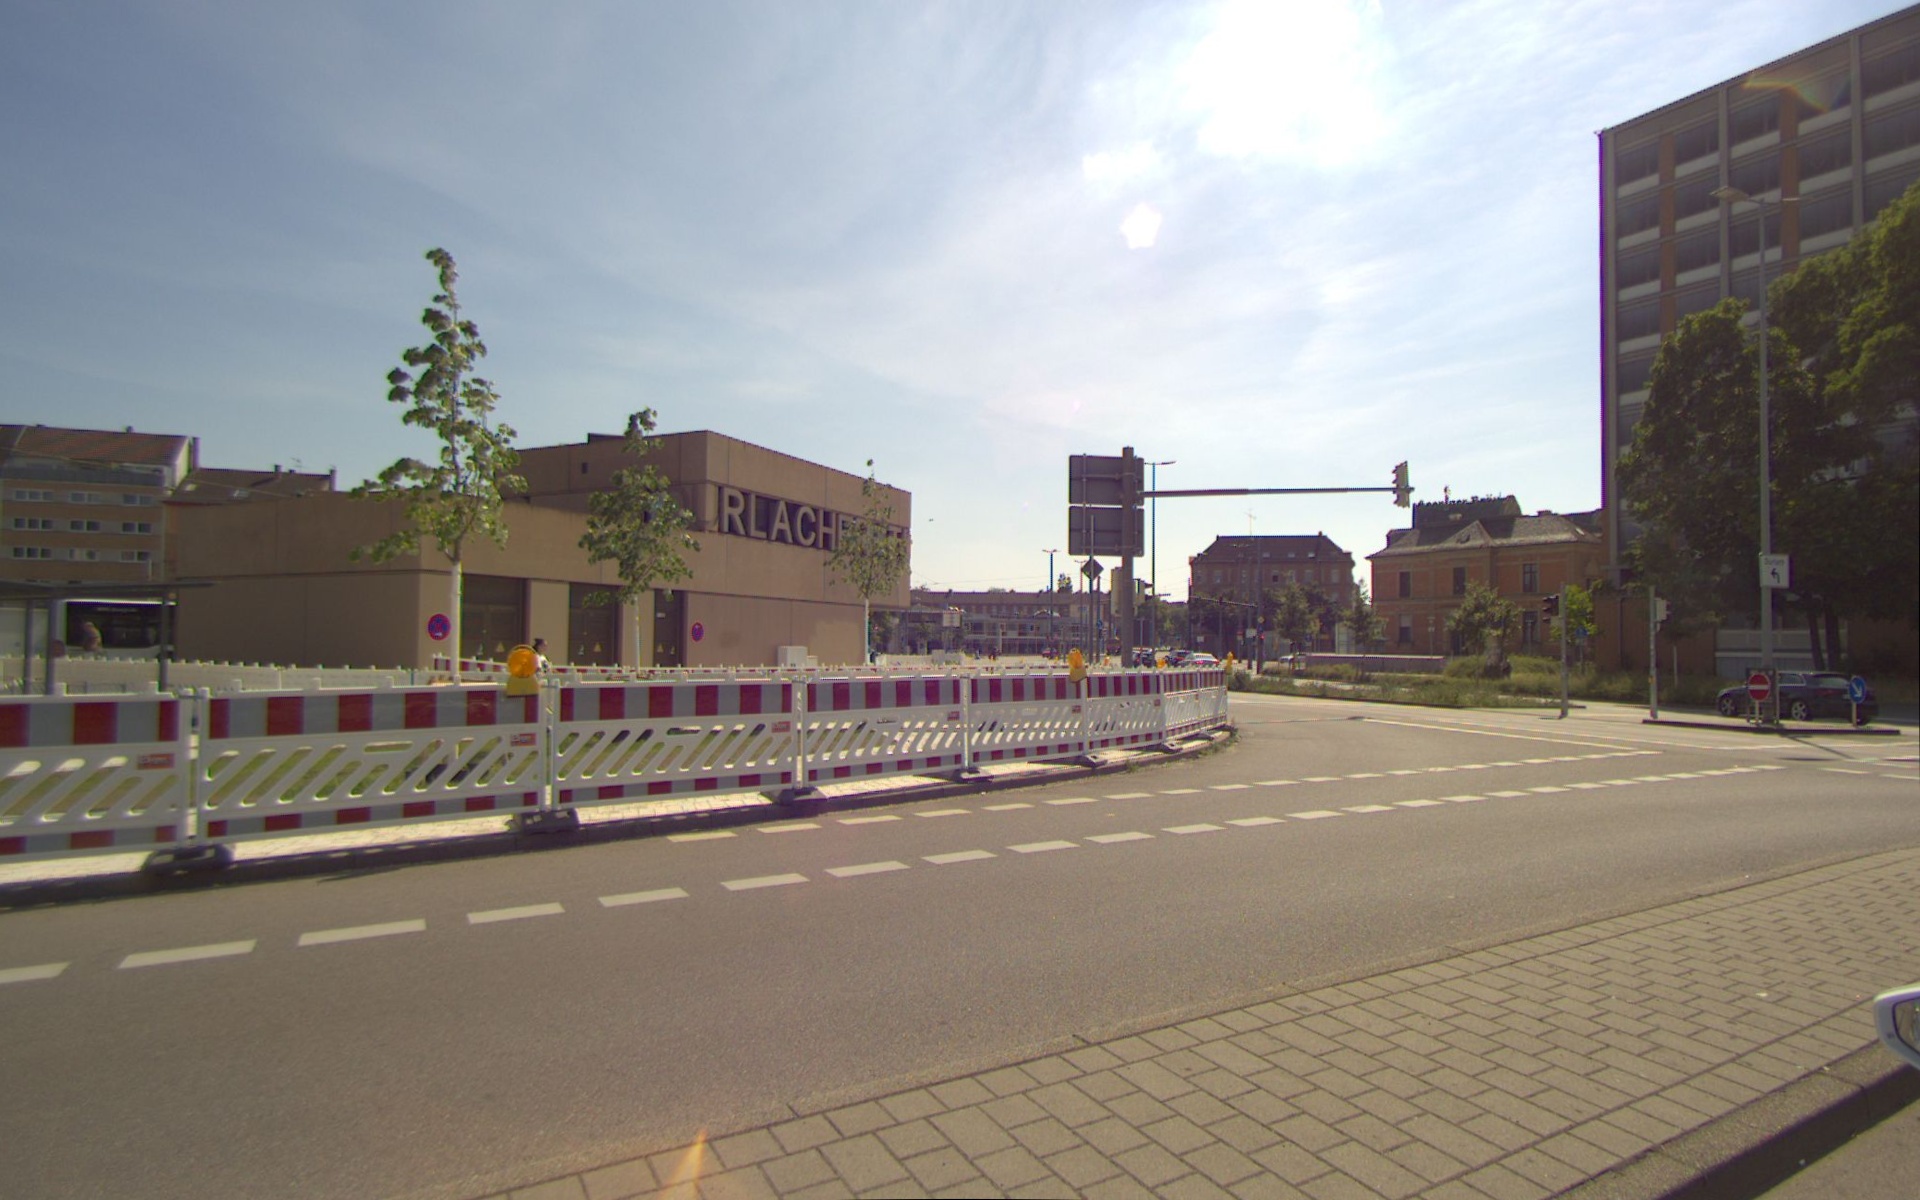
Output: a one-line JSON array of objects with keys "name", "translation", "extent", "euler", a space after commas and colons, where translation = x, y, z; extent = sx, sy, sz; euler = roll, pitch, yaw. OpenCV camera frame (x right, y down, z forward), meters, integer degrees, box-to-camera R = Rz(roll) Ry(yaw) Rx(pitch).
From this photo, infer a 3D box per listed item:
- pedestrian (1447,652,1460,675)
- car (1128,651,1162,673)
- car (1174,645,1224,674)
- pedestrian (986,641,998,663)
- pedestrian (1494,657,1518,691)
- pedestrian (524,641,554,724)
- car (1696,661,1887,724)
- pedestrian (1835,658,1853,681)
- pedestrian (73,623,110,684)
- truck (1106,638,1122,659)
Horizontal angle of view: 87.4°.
[{"name": "pedestrian", "translation": [36.986, 4.759, 75.272], "extent": [0.641, 1.683, 0.647], "euler": [2, -3, -22]}, {"name": "car", "translation": [13.613, 4.554, 74.136], "extent": [1.764, 1.530, 4.002], "euler": [1, -3, 1]}, {"name": "car", "translation": [15.811, 3.920, 66.569], "extent": [1.963, 1.839, 3.996], "euler": [1, -3, -7]}, {"name": "pedestrian", "translation": [2.423, 3.985, 76.720], "extent": [0.645, 1.683, 0.655], "euler": [3, -3, -42]}, {"name": "pedestrian", "translation": [29.164, 3.936, 53.665], "extent": [0.857, 1.748, 0.799], "euler": [1, -2, -7]}, {"name": "pedestrian", "translation": [-8.112, 1.578, 19.360], "extent": [0.416, 1.585, 0.557], "euler": [1, -2, -13]}, {"name": "car", "translation": [23.074, 2.519, 28.080], "extent": [1.767, 1.530, 3.996], "euler": [2, -3, -7]}, {"name": "pedestrian", "translation": [36.627, 2.875, 41.621], "extent": [0.387, 0.903, 0.427], "euler": [2, -3, -21]}, {"name": "pedestrian", "translation": [-29.831, 1.836, 34.511], "extent": [0.571, 2.040, 0.731], "euler": [-1, -3, 24]}, {"name": "truck", "translation": [29.381, 9.237, 191.400], "extent": [3.011, 3.779, 7.937], "euler": [1, -3, 10]}]
